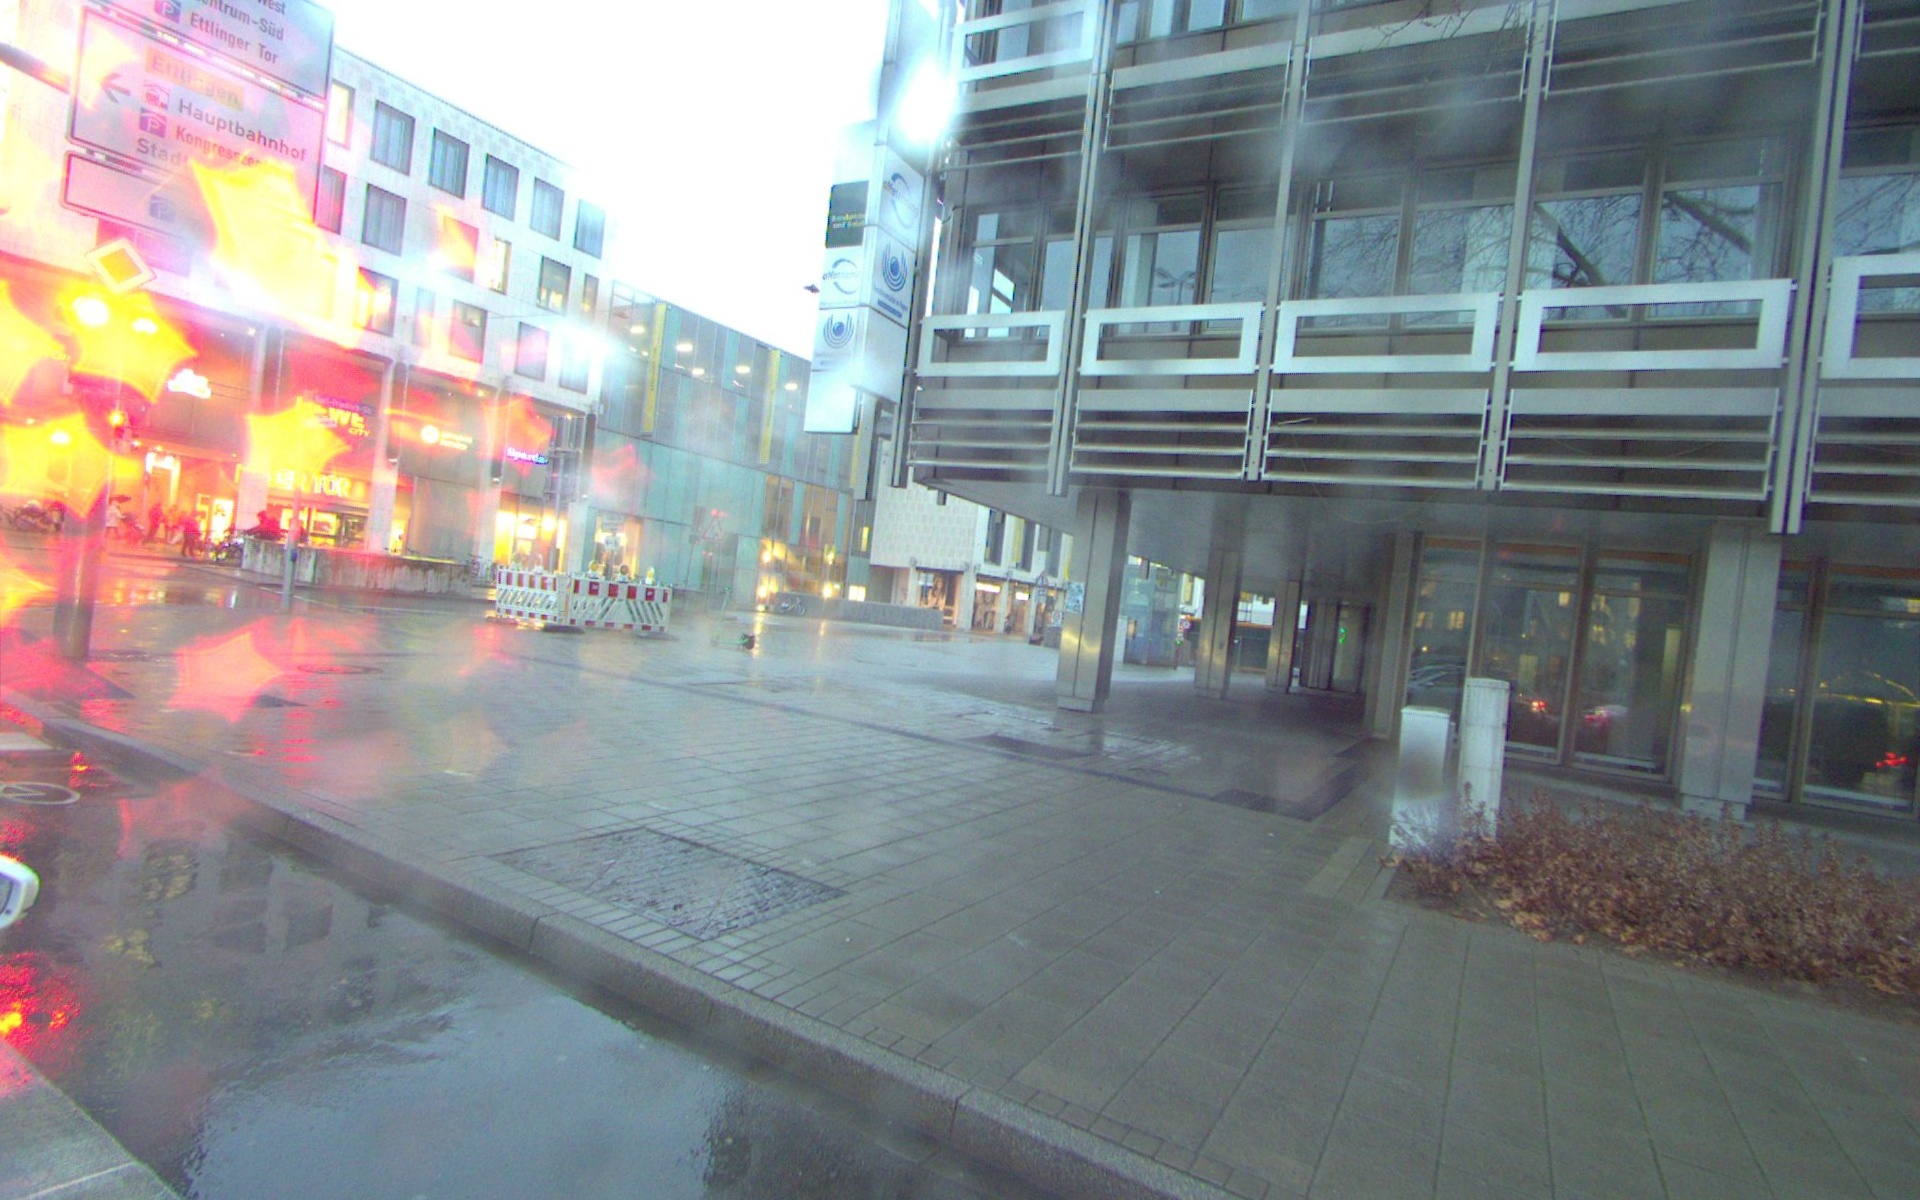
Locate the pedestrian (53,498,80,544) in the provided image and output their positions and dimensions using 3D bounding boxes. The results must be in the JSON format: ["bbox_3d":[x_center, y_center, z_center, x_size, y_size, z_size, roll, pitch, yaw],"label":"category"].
[{"bbox_3d":[-34.923,-3.077,39.315,0.529,1.739,0.500,6,1,-21],"label":"pedestrian"}]

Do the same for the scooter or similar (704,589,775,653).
[{"bbox_3d":[-4.437,0.417,20.227,1.215,1.144,0.606,7,0,32],"label":"scooter or similar"}]

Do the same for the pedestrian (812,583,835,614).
[{"bbox_3d":[-9.593,-0.083,70.623,1.006,2.037,0.906,6,-1,31],"label":"pedestrian"}]

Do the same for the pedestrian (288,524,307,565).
[{"bbox_3d":[-30.233,-2.541,45.920,0.369,1.782,0.510,7,1,44],"label":"pedestrian"}]

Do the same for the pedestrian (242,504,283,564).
[{"bbox_3d":[-20.144,-1.903,29.042,0.778,1.615,0.605,6,1,-43],"label":"pedestrian"}]

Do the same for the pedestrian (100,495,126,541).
[{"bbox_3d":[-33.507,-3.229,39.799,0.529,1.739,0.500,6,1,-21],"label":"pedestrian"}]

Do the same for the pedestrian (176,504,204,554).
[{"bbox_3d":[-27.817,-2.549,36.362,0.529,1.706,0.546,6,1,-21],"label":"pedestrian"}]

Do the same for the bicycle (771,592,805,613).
[{"bbox_3d":[-10.546,0.148,61.732,2.101,1.046,0.616,6,0,33],"label":"bicycle"}]

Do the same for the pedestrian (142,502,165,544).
[{"bbox_3d":[-35.384,-3.365,44.159,0.529,1.739,0.500,6,1,-21],"label":"pedestrian"}]

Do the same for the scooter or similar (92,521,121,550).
[{"bbox_3d":[-33.615,-2.542,39.632,0.394,1.005,0.741,7,0,33],"label":"scooter or similar"}]

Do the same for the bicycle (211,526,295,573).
[{"bbox_3d":[-20.308,-1.442,28.934,1.839,1.107,0.610,7,0,-44],"label":"bicycle"}]

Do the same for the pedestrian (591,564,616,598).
[{"bbox_3d":[-18.338,-0.970,51.761,0.697,1.650,0.795,6,-1,31],"label":"pedestrian"}]

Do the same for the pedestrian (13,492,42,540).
[{"bbox_3d":[-35.691,-3.206,38.513,0.529,1.739,0.500,6,1,-21],"label":"pedestrian"}]

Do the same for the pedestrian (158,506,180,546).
[{"bbox_3d":[-36.199,-3.391,46.059,0.529,1.739,0.500,6,1,-21],"label":"pedestrian"}]
